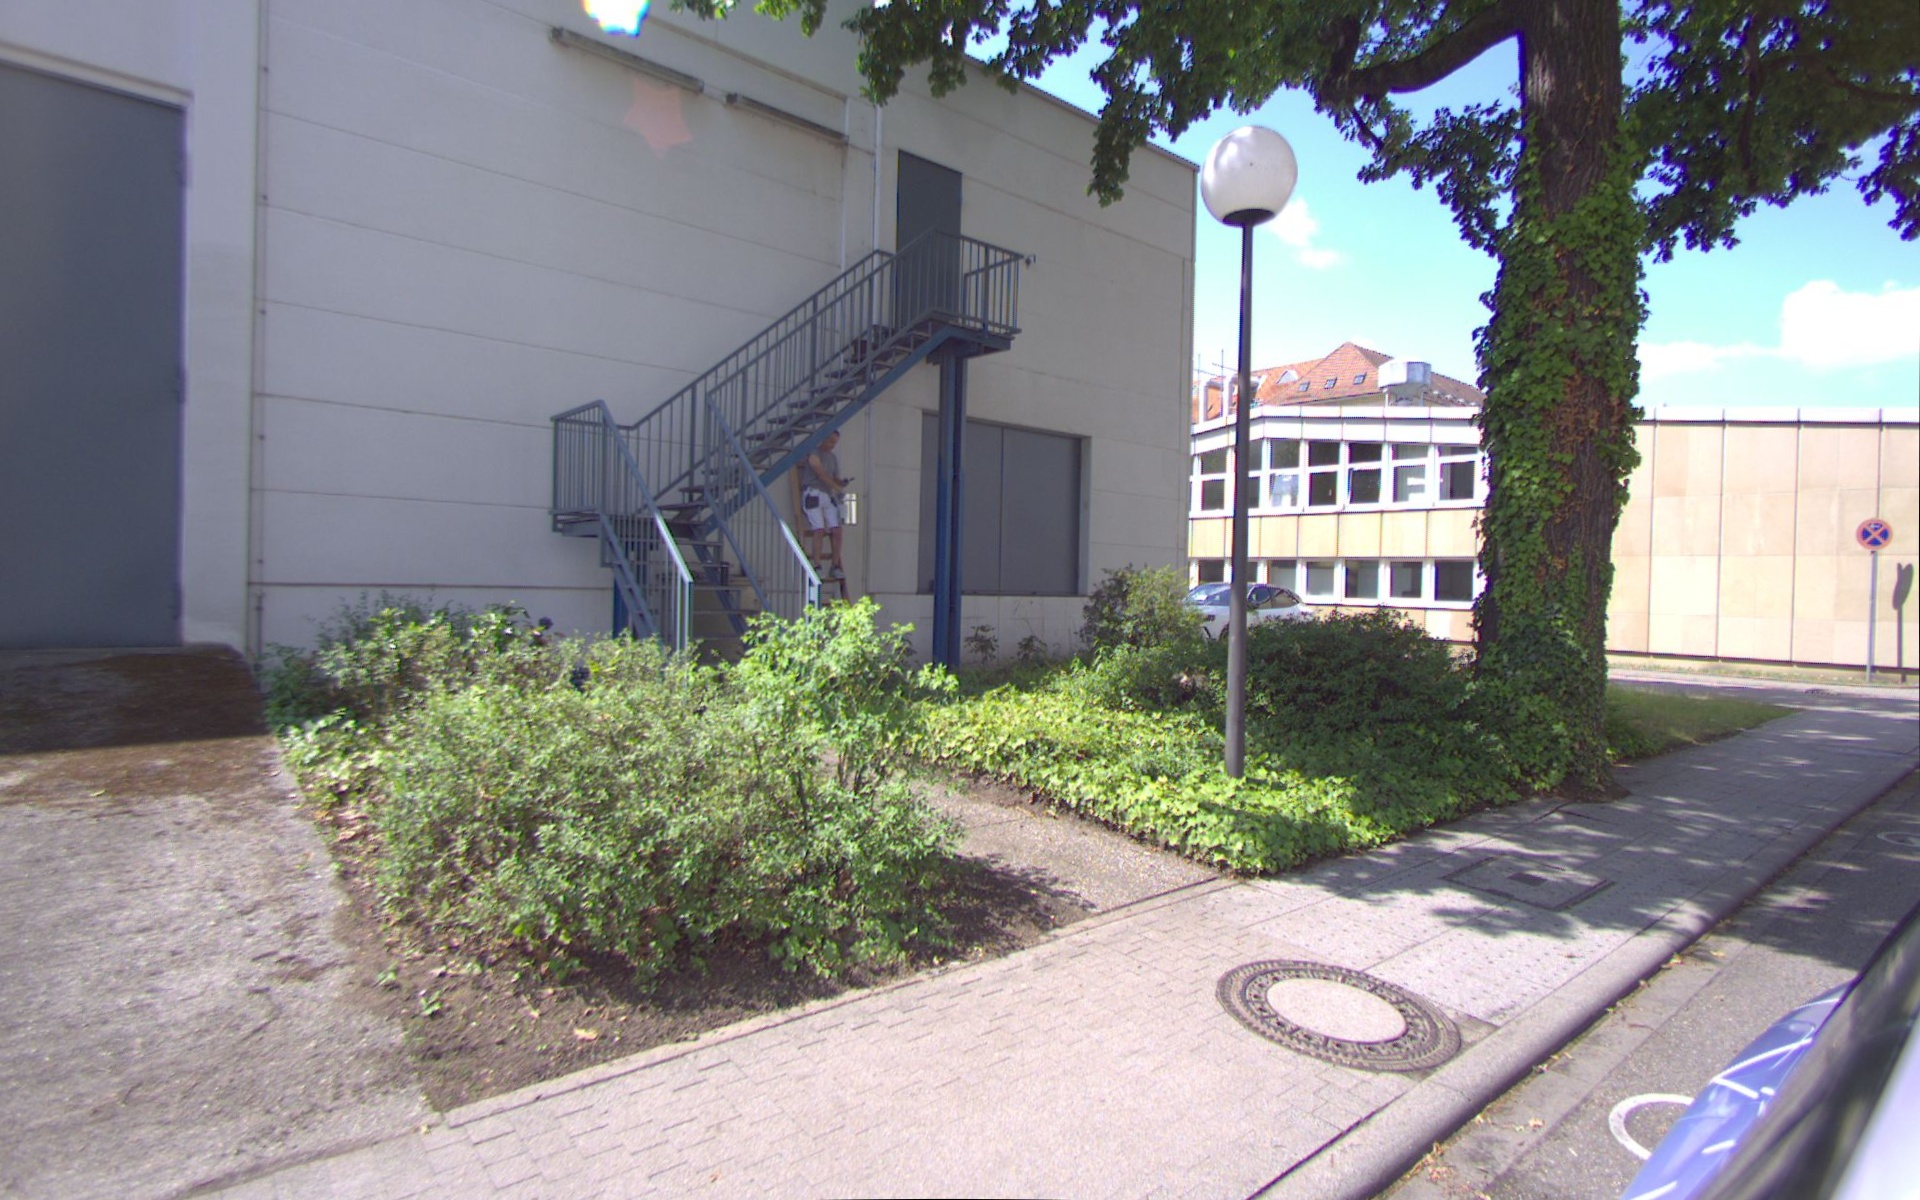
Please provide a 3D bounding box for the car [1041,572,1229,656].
[{"bbox_3d":[3.759,0.250,21.440,3.929,1.598,1.829,0,1,-40],"label":"car"}]

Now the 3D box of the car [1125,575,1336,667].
[{"bbox_3d":[4.996,0.325,18.425,4.108,1.495,1.670,0,1,-41],"label":"car"}]

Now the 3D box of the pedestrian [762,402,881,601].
[{"bbox_3d":[-1.526,-1.029,11.090,0.932,2.039,0.930,1,1,-37],"label":"pedestrian"}]
